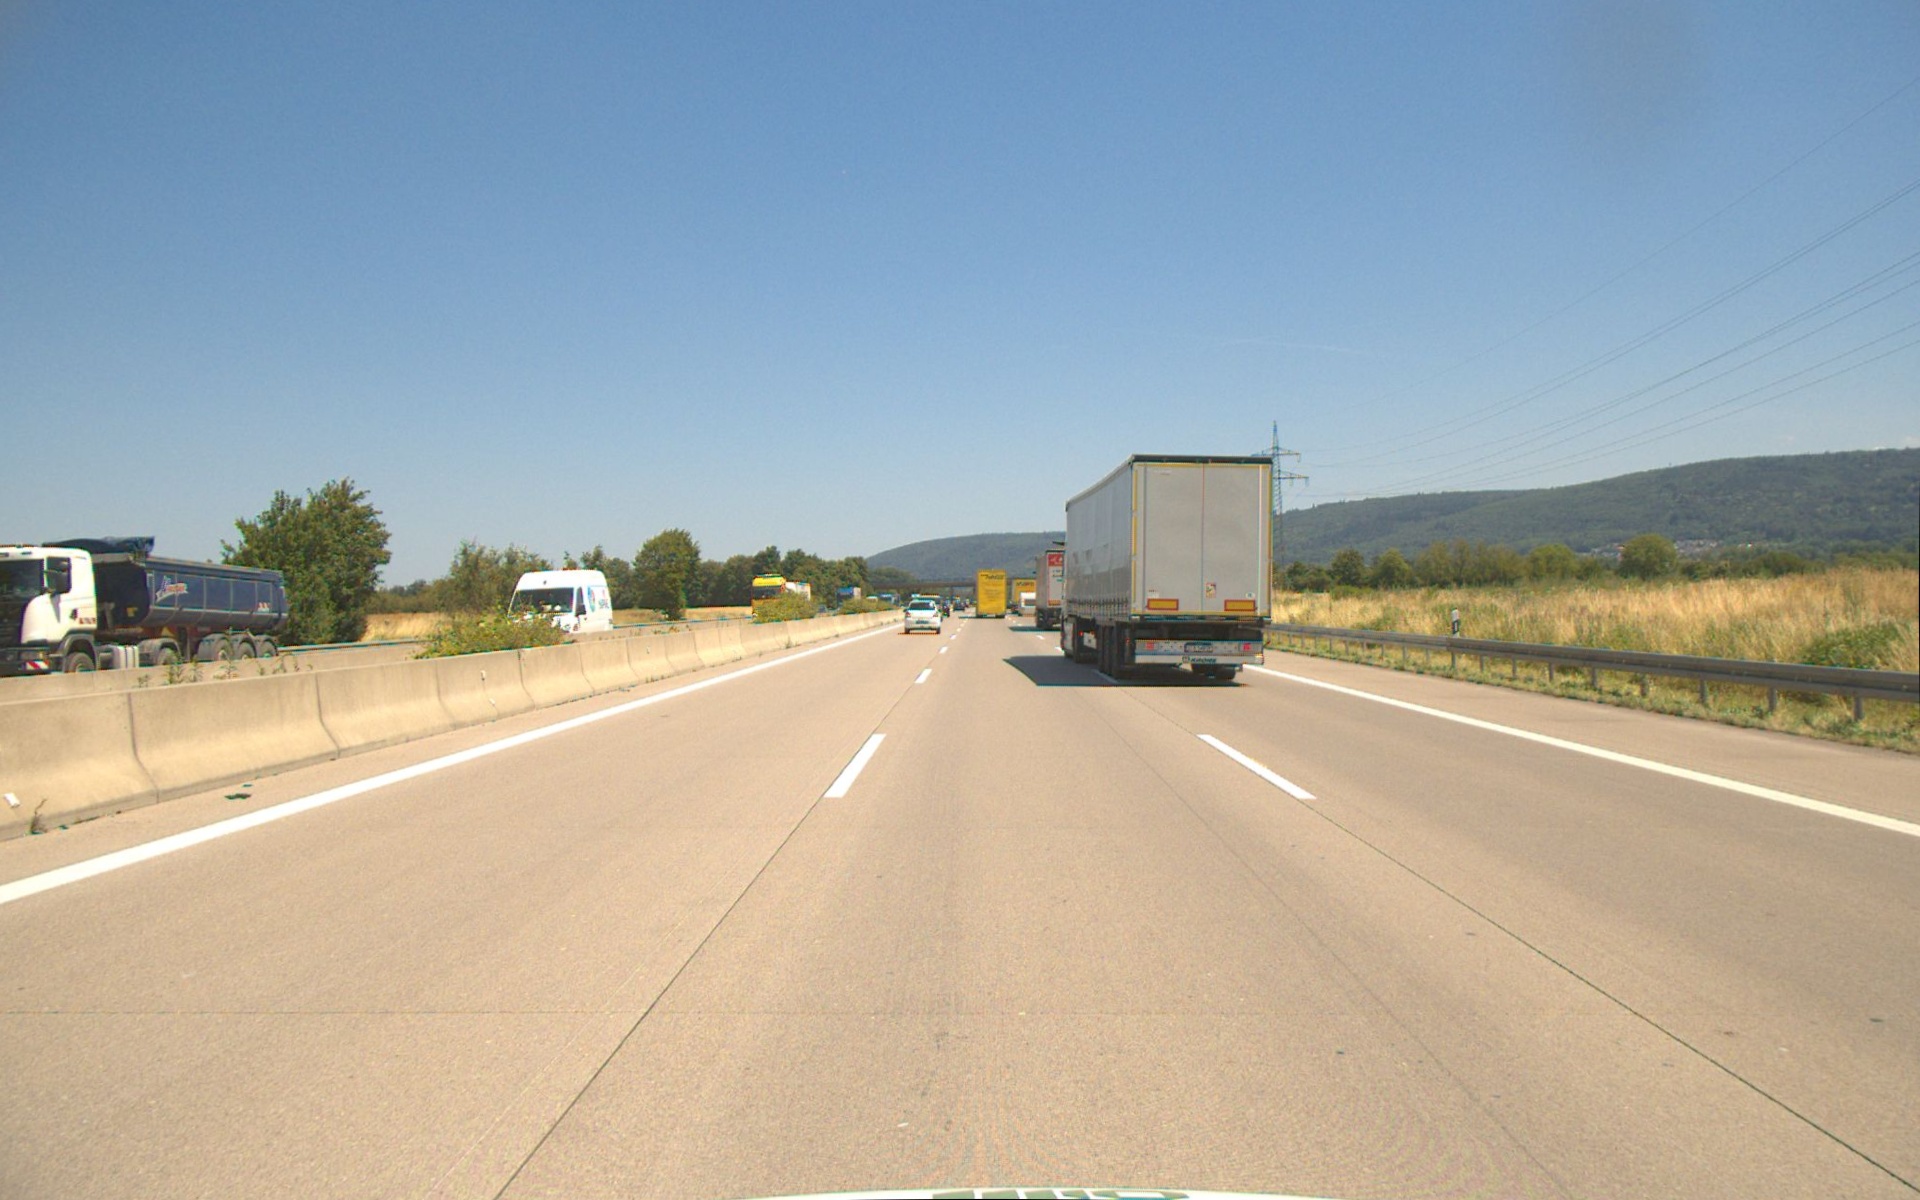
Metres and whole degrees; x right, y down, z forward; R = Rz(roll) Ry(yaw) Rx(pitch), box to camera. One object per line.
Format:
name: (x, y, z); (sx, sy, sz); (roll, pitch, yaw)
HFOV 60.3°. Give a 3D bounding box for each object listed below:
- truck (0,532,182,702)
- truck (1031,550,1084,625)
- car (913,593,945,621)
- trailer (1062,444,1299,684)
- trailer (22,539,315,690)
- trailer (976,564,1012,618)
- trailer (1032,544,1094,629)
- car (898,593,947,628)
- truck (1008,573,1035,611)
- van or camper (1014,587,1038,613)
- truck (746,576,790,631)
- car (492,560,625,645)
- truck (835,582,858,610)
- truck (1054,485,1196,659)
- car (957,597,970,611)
truck: (-19.536, 0.324, 35.726); (2.749, 3.362, 5.614); (0, 0, 0)
truck: (5.565, -0.696, 95.495); (2.845, 4.172, 6.273); (0, 0, 1)
car: (-2.299, 0.487, 122.932); (2.208, 2.049, 4.298); (0, 0, 1)
trailer: (4.256, -0.635, 35.706); (2.956, 4.132, 14.203); (0, 0, -1)
trailer: (-19.504, 0.313, 41.622); (2.770, 3.362, 9.463); (0, 0, 0)
trailer: (3.069, -0.776, 149.945); (3.149, 4.643, 13.458); (0, 0, 1)
trailer: (5.387, -0.684, 88.911); (2.814, 4.172, 13.515); (0, 0, 1)
car: (-1.713, 0.487, 76.852); (2.063, 1.563, 4.123); (0, 0, 2)
truck: (7.171, -0.930, 193.185); (2.937, 4.390, 9.684); (0, 0, 1)
van or camper: (6.558, -0.009, 164.979); (2.178, 2.575, 5.431); (0, 0, 0)
truck: (-14.782, 0.251, 127.813); (2.687, 4.151, 5.540); (0, 0, 0)
car: (-11.262, 0.070, 46.917); (2.165, 2.227, 6.325); (0, 0, 0)
truck: (-16.482, -0.578, 240.859); (2.837, 3.931, 5.685); (0, 0, 0)
truck: (4.112, -0.665, 42.253); (2.924, 4.133, 5.476); (0, 0, -2)
car: (0.468, 0.583, 233.442); (1.747, 1.914, 4.000); (0, 0, 1)
